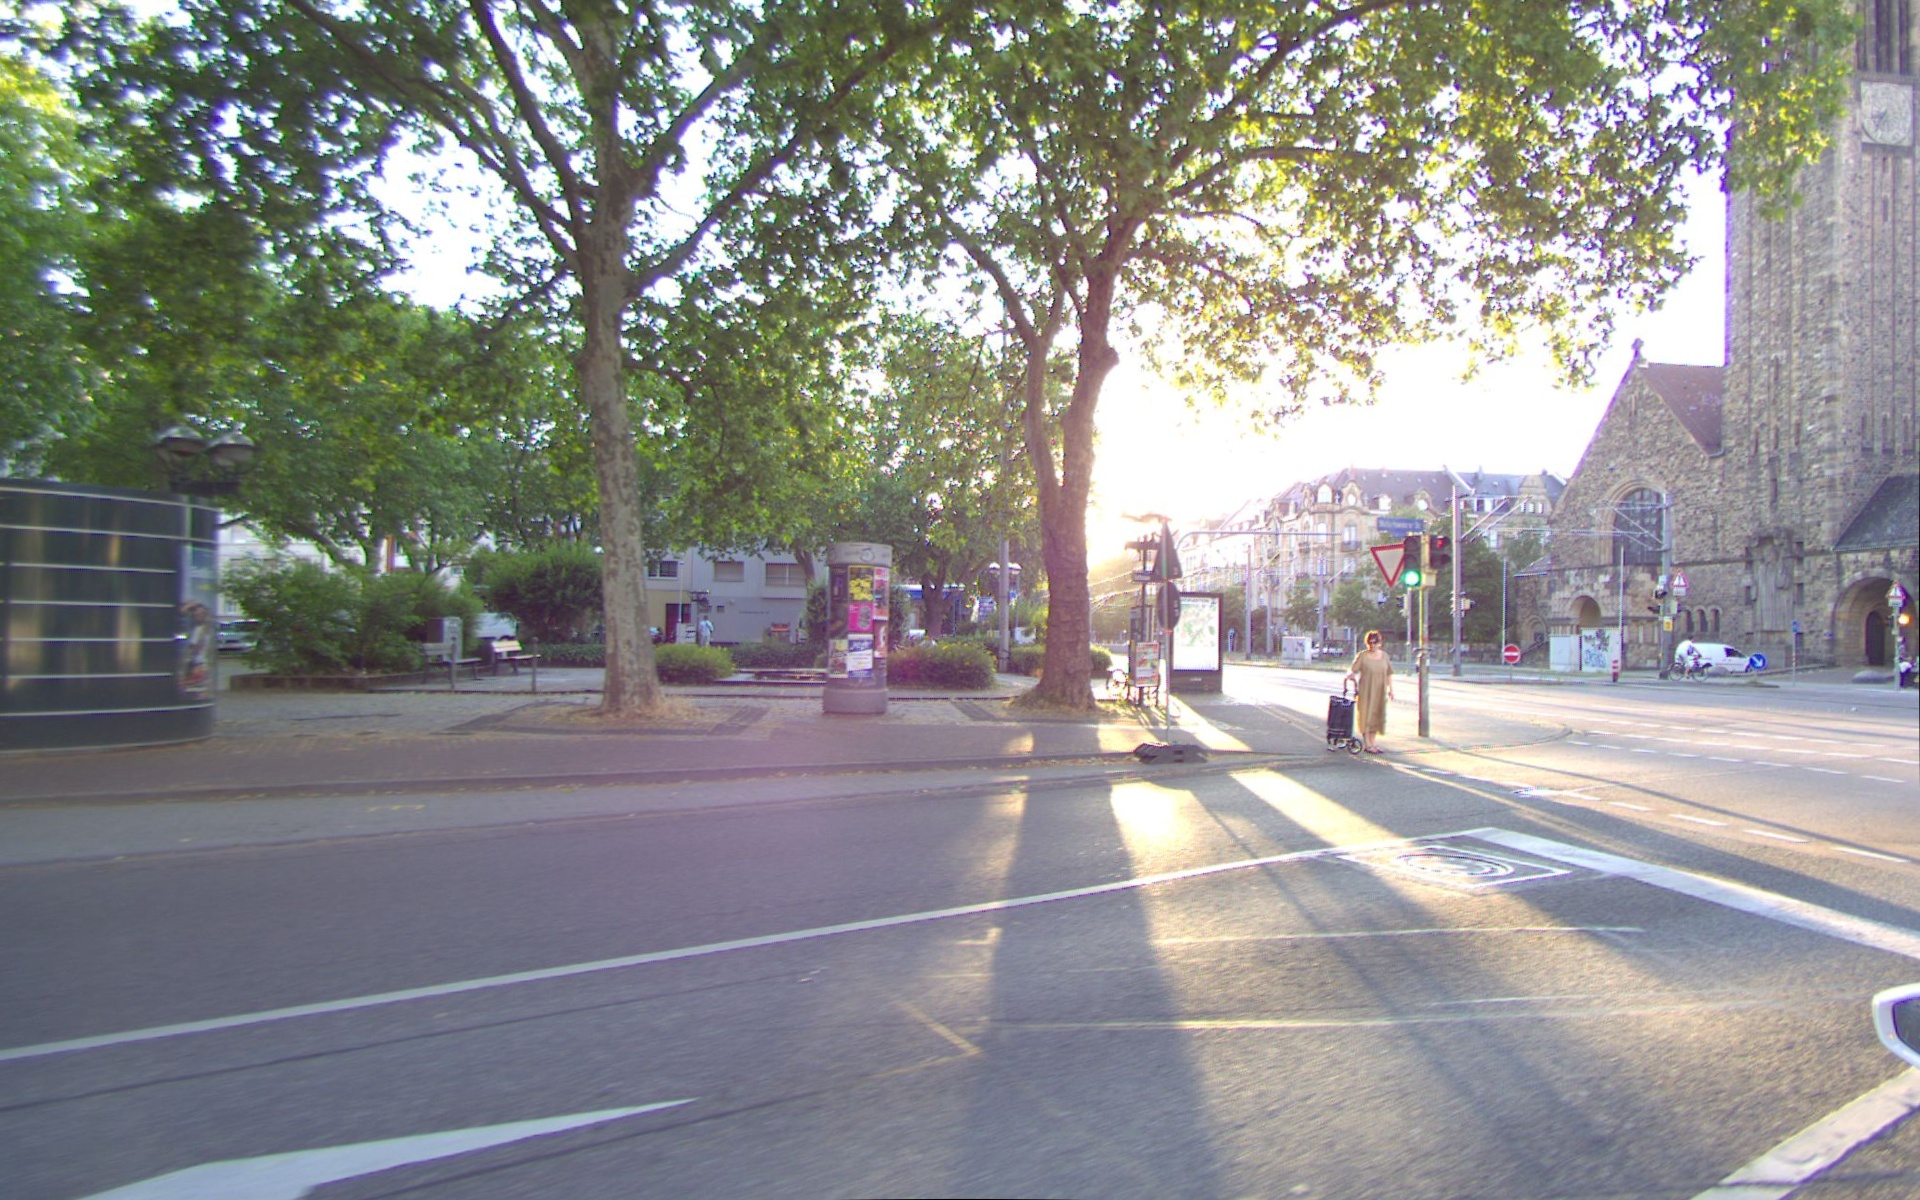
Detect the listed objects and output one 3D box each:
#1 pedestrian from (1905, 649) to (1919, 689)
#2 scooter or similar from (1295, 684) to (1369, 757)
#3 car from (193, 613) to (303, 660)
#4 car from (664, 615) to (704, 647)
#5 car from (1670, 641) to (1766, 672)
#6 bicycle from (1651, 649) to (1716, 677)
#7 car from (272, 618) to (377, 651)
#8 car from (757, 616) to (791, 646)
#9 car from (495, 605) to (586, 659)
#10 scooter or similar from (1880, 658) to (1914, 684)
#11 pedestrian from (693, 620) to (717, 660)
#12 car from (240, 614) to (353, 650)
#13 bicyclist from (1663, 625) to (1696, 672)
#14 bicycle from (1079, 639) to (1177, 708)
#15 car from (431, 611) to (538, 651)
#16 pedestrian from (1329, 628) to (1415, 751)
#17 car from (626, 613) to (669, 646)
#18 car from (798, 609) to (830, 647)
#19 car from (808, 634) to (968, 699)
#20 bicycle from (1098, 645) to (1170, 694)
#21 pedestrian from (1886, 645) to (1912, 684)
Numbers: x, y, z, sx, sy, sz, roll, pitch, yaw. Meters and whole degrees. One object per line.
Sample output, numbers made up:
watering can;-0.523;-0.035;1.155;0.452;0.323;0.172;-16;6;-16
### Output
pedestrian;42.361;3.063;44.392;0.593;1.721;0.633;2;-1;-18
scooter or similar;5.079;1.625;13.699;0.845;0.909;0.586;3;-1;-40
car;-27.529;1.381;38.985;1.642;1.684;3.761;2;-1;-3
car;-18.452;2.047;67.378;1.963;2.040;3.995;2;-1;-8
car;43.404;3.229;57.574;4.371;1.537;1.718;2;-1;-5
bicycle;28.910;2.511;40.146;2.202;1.092;0.658;0;0;-5
car;-34.961;1.906;55.405;4.572;1.758;1.991;0;-3;-21
car;-12.472;2.083;67.563;1.882;1.873;3.996;2;-1;-7
car;-14.966;1.171;36.126;1.963;1.804;4.496;0;-3;-9
scooter or similar;41.255;3.131;44.239;1.062;1.117;0.633;2;-4;-19
pedestrian;-10.966;1.706;43.180;0.869;1.694;0.740;2;-1;-7
car;-34.820;1.684;52.881;4.577;1.834;1.992;0;-3;-19
bicyclist;28.754;1.947;40.149;0.843;1.851;0.658;0;-1;-5
bicycle;3.405;1.487;20.315;1.967;1.344;0.524;3;-1;-25
car;-24.468;1.622;51.814;4.556;1.964;1.998;0;-3;-9
pedestrian;5.798;1.237;14.147;0.766;1.649;0.797;3;-1;-34
car;-20.769;1.947;66.869;1.963;2.040;3.995;2;-1;-8
car;-9.831;1.871;67.785;1.963;2.374;3.996;2;-1;-7
car;-2.124;1.938;29.788;4.552;1.805;1.999;0;-3;-4
bicycle;4.049;1.619;23.335;1.779;1.107;0.455;3;-1;-32
pedestrian;42.173;2.881;45.125;0.593;1.721;0.633;2;-1;-18
